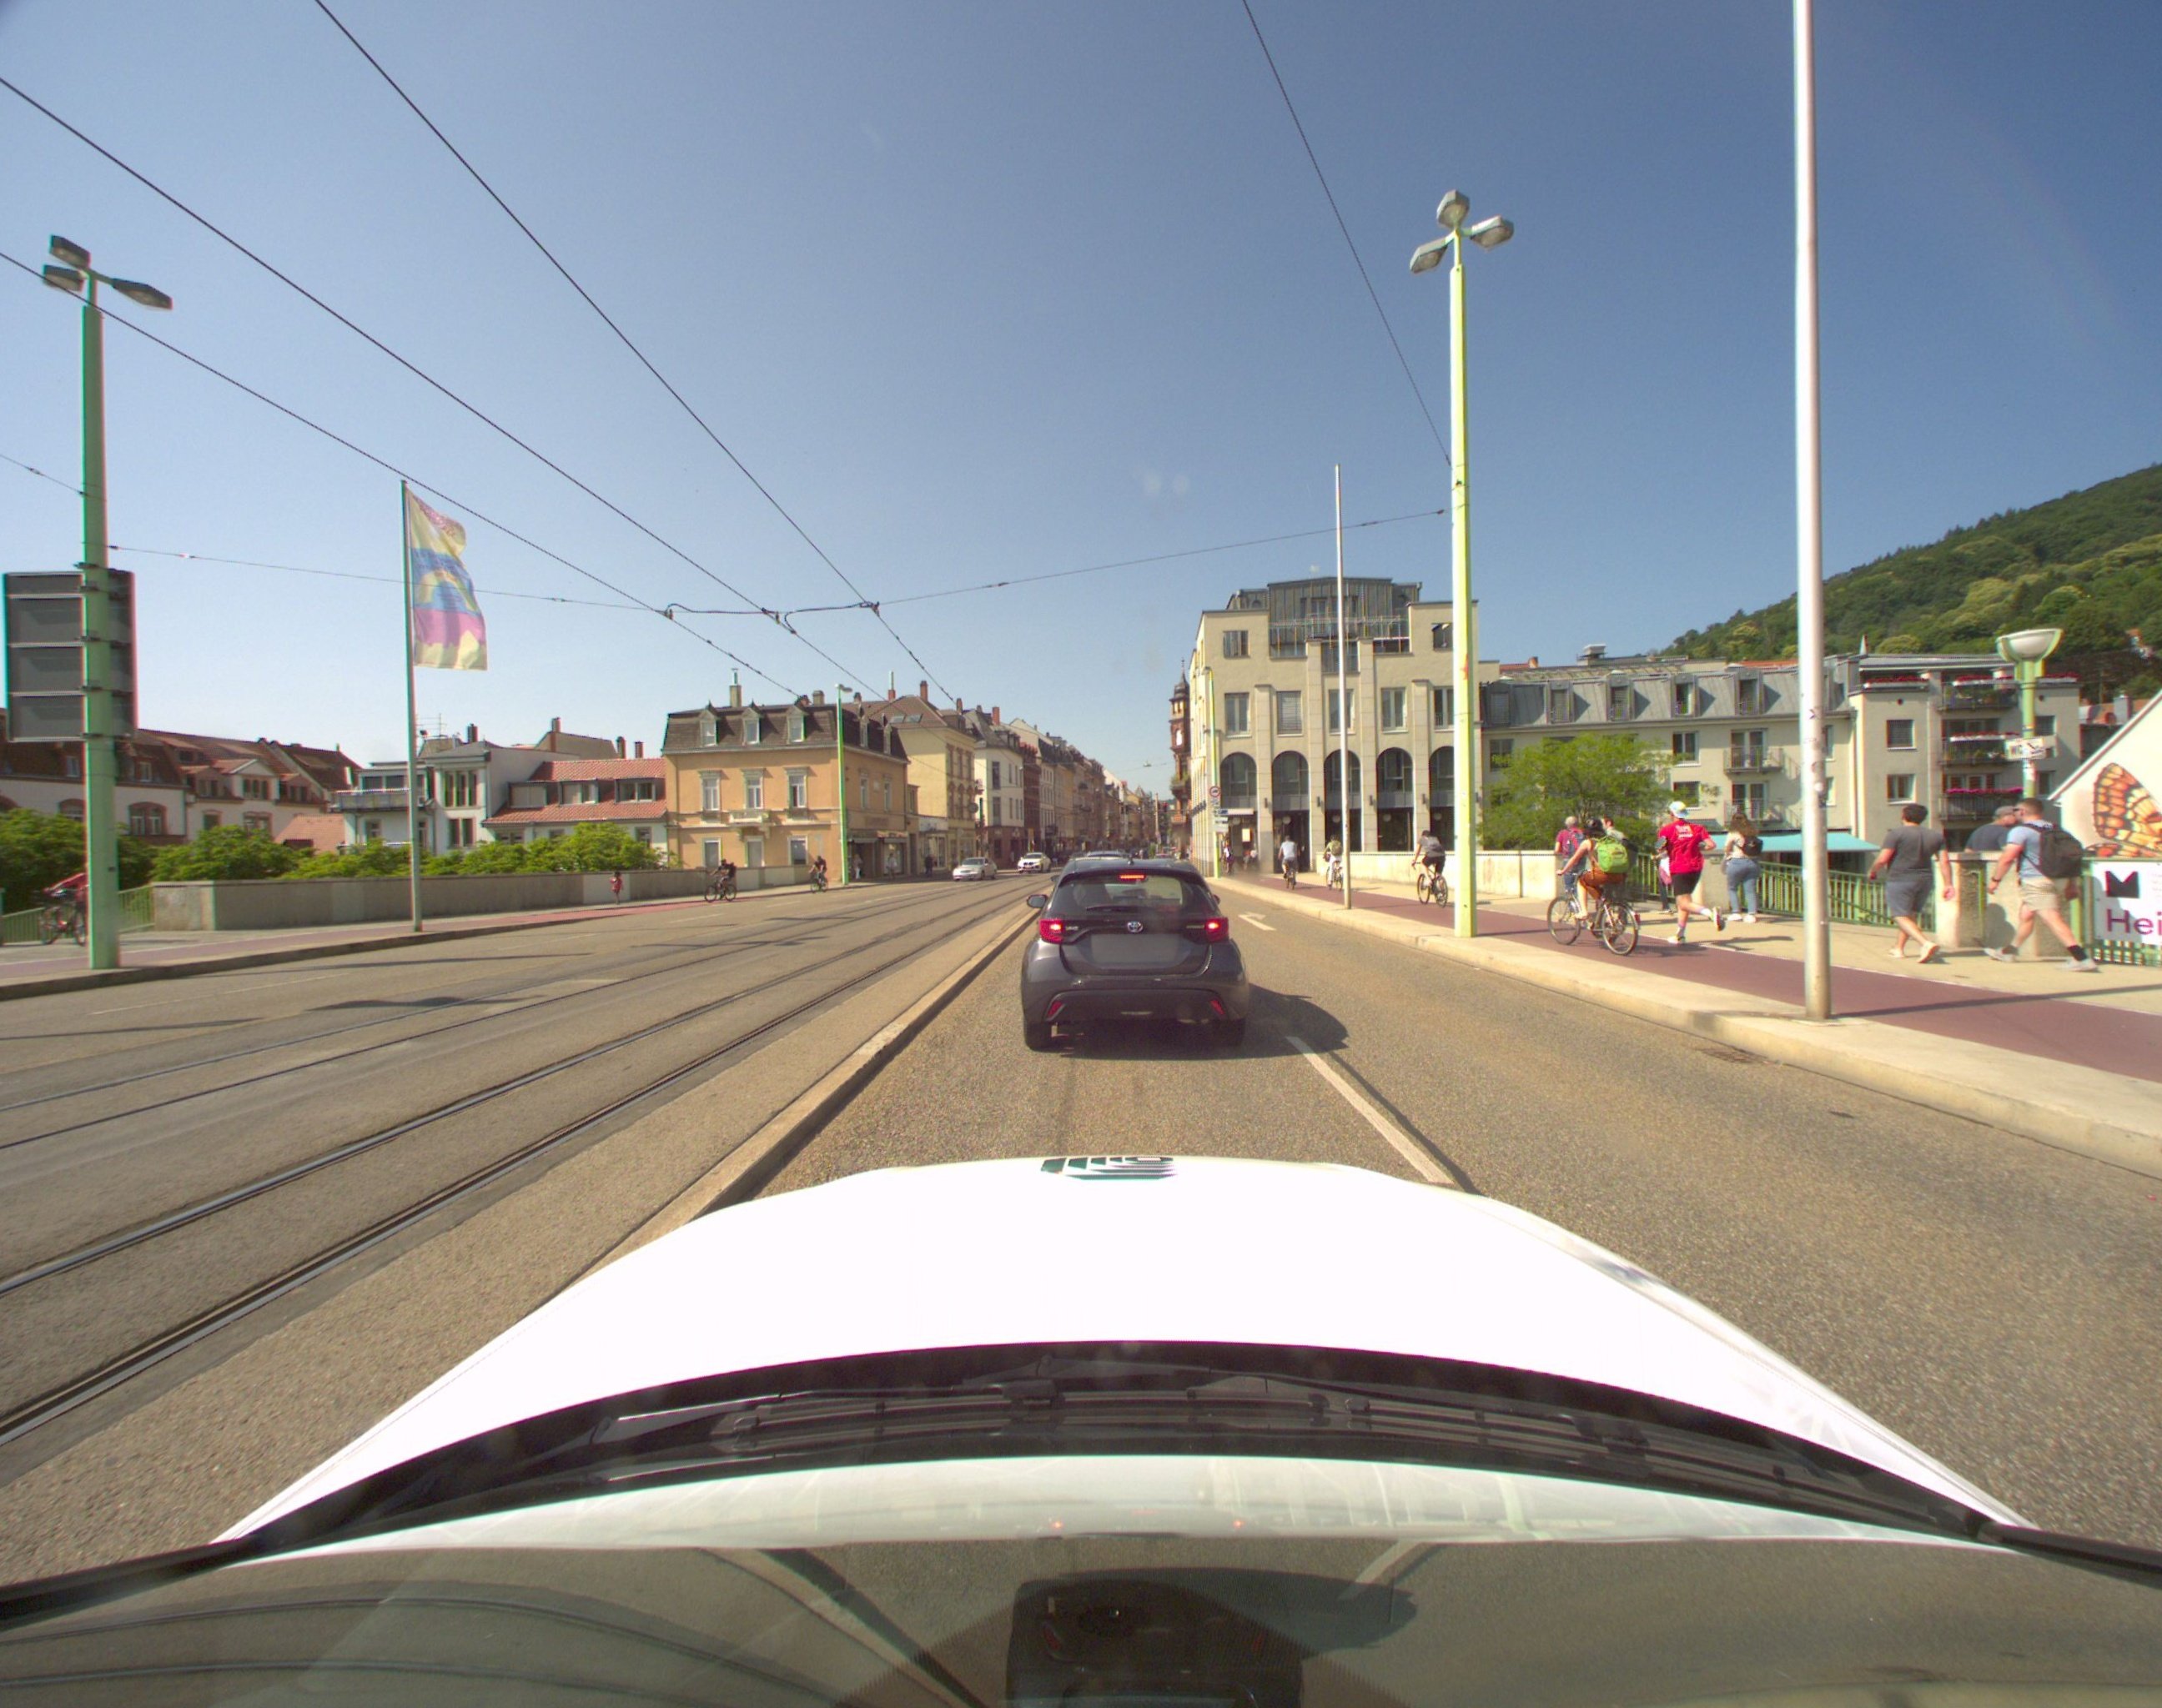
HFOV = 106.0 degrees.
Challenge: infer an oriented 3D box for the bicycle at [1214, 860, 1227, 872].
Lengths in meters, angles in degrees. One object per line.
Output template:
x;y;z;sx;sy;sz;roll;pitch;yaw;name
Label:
10.681;0.902;62.448;0.701;0.882;1.526;3;0;2;bicycle

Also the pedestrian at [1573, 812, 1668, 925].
8.673;0.219;13.133;0.752;1.718;1.073;-3;0;1;pedestrian

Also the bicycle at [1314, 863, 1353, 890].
7.886;0.698;25.507;0.592;0.765;1.866;-2;0;-1;bicycle

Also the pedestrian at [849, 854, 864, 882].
-13.355;0.826;48.389;0.646;1.602;0.566;3;2;2;pedestrian

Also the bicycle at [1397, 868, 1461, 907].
7.688;0.720;18.062;0.592;0.765;1.830;-2;0;-1;bicycle

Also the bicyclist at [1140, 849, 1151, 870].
7.973;0.722;101.427;1.223;2.529;1.106;3;0;3;bicyclist

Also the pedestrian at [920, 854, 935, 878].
-10.867;0.819;57.799;0.758;1.654;0.713;3;0;8;pedestrian

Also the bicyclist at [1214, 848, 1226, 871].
10.672;0.412;62.479;0.699;1.695;0.925;3;0;2;bicyclist

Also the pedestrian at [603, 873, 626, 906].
-16.576;1.260;28.931;0.409;1.146;0.546;3;0;12;pedestrian

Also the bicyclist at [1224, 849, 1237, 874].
8.336;0.402;45.500;0.532;1.383;0.669;-3;0;1;bicyclist

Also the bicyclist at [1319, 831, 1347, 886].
7.865;0.138;25.413;0.585;1.650;0.702;-2;0;-1;bicyclist

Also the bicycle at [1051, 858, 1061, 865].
-2.739;0.851;87.901;0.616;0.716;2.051;0;1;11;bicycle

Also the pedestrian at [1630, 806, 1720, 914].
10.271;0.098;14.117;0.736;1.777;1.016;-3;0;1;pedestrian

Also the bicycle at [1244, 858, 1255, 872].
9.578;0.646;46.294;0.415;0.765;0.962;-3;0;2;bicycle

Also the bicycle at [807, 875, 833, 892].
-12.266;1.395;38.328;0.618;0.716;1.732;0;1;2;bicycle

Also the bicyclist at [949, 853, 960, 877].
-8.987;0.791;57.873;0.623;1.650;0.623;0;1;10;bicyclist

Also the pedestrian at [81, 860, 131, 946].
-19.062;0.940;15.924;0.620;1.632;0.415;1;0;18;pedestrian

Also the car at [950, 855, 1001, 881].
-6.287;0.808;49.116;1.720;1.460;4.386;-2;0;10;car

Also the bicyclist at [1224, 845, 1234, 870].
9.040;0.217;49.787;0.438;1.466;0.488;-3;0;24;bicyclist

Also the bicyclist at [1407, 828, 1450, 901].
7.657;0.237;17.984;0.585;1.559;0.702;-2;0;-1;bicyclist

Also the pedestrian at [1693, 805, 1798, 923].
10.383;0.152;12.767;0.737;1.746;1.015;-3;0;-1;pedestrian

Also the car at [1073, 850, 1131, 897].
0.721;0.634;28.545;1.890;1.530;4.001;0;0;1;car

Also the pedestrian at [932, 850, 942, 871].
-11.539;0.522;65.157;0.646;1.602;0.566;3;2;2;pedestrian

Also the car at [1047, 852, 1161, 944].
0.435;0.729;15.513;1.890;1.530;4.001;0;0;1;car

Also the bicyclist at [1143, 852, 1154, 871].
9.281;0.991;111.856;1.220;2.529;1.109;3;0;13;bicyclist

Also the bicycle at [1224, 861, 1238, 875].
8.356;0.771;45.453;0.512;0.765;1.661;-3;0;2;bicycle

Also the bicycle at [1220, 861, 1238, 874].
9.067;0.827;49.782;0.950;0.765;0.420;-3;0;24;bicycle

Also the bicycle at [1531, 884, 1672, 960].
6.449;0.813;10.214;0.591;0.765;1.867;-2;0;2;bicycle

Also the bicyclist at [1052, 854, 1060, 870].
-2.732;0.882;87.969;0.701;1.650;0.623;0;1;10;bicyclist

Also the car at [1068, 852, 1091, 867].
-0.119;0.583;85.789;1.784;1.545;3.930;-2;0;8;car

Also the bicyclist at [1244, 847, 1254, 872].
9.562;0.296;46.327;0.420;1.383;0.443;-3;0;1;bicyclist

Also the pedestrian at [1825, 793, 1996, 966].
8.912;0.257;8.802;0.736;1.718;1.016;-3;0;1;pedestrian

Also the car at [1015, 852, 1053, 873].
-3.718;0.663;65.450;1.981;1.586;4.665;-2;0;10;car

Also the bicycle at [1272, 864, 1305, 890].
6.956;0.759;27.333;0.592;0.765;1.866;-2;0;-1;bicycle

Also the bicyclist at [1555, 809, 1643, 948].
6.429;0.296;10.136;0.602;1.650;0.702;-2;0;2;bicyclist

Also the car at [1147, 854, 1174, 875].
5.804;0.741;59.977;1.699;1.466;4.327;0;0;1;car

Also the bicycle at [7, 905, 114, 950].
-19.387;1.385;15.471;1.912;0.716;0.625;1;1;18;bicycle

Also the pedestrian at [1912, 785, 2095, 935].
11.798;0.071;10.459;1.201;1.777;0.979;-3;0;-4;pedestrian

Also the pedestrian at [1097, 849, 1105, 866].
2.967;0.550;123.422;1.047;2.588;1.502;3;0;2;pedestrian

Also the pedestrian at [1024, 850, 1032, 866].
-5.765;0.433;88.879;0.733;1.766;0.787;-1;1;2;pedestrian

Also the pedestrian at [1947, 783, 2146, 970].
9.567;0.209;8.122;0.736;1.718;1.016;-2;0;1;pedestrian

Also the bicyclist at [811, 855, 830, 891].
-12.249;0.902;38.300;0.625;1.650;0.622;0;1;2;bicyclist

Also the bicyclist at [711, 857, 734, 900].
-13.935;0.947;31.652;0.625;1.650;0.622;0;1;2;bicyclist

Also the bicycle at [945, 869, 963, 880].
-9.003;1.425;57.830;0.616;0.716;2.051;0;1;11;bicycle

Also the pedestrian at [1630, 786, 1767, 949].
7.777;0.162;10.320;0.808;1.924;1.128;-2;0;1;pedestrian

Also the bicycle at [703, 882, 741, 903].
-13.934;1.488;31.635;0.618;0.716;1.772;0;1;2;bicycle

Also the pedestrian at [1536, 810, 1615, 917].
8.824;0.164;14.572;0.736;1.802;1.016;-3;0;1;pedestrian

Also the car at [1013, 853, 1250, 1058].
0.410;0.735;7.722;1.713;1.473;3.659;0;0;1;car

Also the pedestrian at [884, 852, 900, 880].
-12.208;0.758;52.548;0.733;1.766;0.787;3;0;2;pedestrian

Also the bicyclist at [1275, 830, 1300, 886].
6.927;0.124;27.319;0.585;1.820;0.702;-2;0;-1;bicyclist

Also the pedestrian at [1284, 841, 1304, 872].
11.516;0.137;44.076;0.736;1.615;1.016;3;0;1;pedestrian

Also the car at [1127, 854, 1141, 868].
8.264;1.110;126.725;1.983;2.013;4.007;3;0;6;car
